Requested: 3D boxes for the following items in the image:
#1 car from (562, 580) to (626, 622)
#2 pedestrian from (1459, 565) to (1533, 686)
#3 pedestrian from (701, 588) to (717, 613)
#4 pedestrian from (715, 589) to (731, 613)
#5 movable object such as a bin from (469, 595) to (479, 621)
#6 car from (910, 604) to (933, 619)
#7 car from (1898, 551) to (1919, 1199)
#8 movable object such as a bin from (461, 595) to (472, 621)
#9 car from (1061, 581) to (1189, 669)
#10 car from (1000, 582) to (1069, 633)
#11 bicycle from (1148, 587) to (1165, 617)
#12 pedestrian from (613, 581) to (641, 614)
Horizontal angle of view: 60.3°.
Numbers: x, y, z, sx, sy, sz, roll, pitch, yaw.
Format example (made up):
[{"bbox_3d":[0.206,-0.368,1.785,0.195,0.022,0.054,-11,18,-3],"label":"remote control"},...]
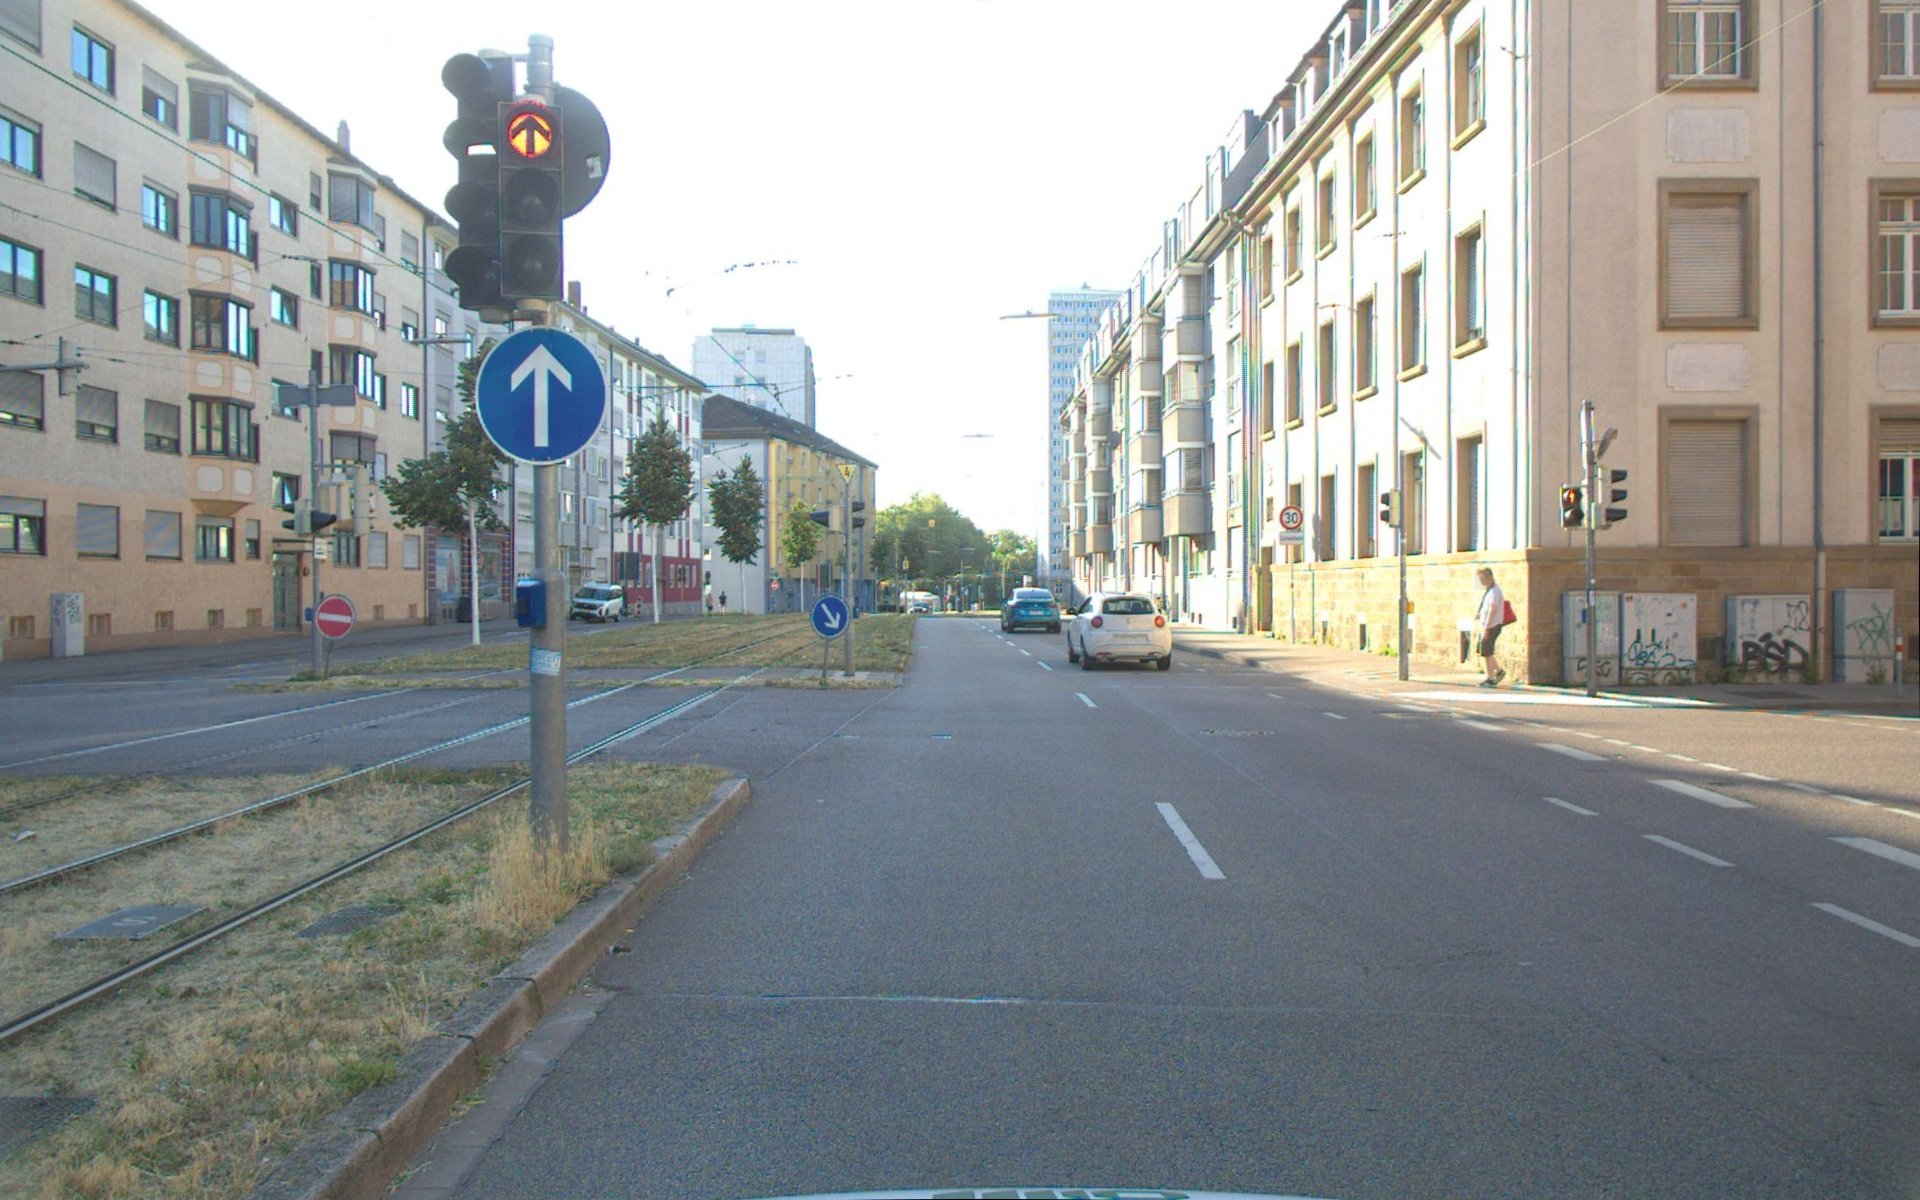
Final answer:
[{"bbox_3d":[-17.954,0.051,81.327,1.952,1.958,4.543,1,0,3],"label":"car"},{"bbox_3d":[8.106,0.377,25.048,0.818,1.793,0.824,1,-1,-1],"label":"pedestrian"},{"bbox_3d":[-17.738,0.047,116.912,0.942,1.723,1.011,1,0,4],"label":"pedestrian"},{"bbox_3d":[-16.849,0.083,117.599,0.942,1.699,1.011,1,0,4],"label":"pedestrian"},{"bbox_3d":[-20.125,0.335,68.511,0.292,1.054,0.441,1,-1,-2],"label":"movable object such as a bin"},{"bbox_3d":[-4.203,1.249,182.368,1.857,1.662,4.751,-1,0,7],"label":"car"},{"bbox_3d":[2.863,0.713,1.422,1.663,1.580,4.225,1,0,-1],"label":"car"},{"bbox_3d":[-20.280,0.342,67.936,0.292,1.054,0.441,1,-1,2],"label":"movable object such as a bin"},{"bbox_3d":[3.175,0.447,32.605,1.953,1.591,3.998,1,0,-2],"label":"car"},{"bbox_3d":[2.445,0.239,54.966,1.953,1.581,4.392,1,0,-2],"label":"car"},{"bbox_3d":[7.358,0.085,61.926,0.376,1.115,1.503,-1,0,-3],"label":"bicycle"},{"bbox_3d":[-18.625,-0.131,92.541,1.243,1.791,1.274,1,0,-1],"label":"pedestrian"}]
